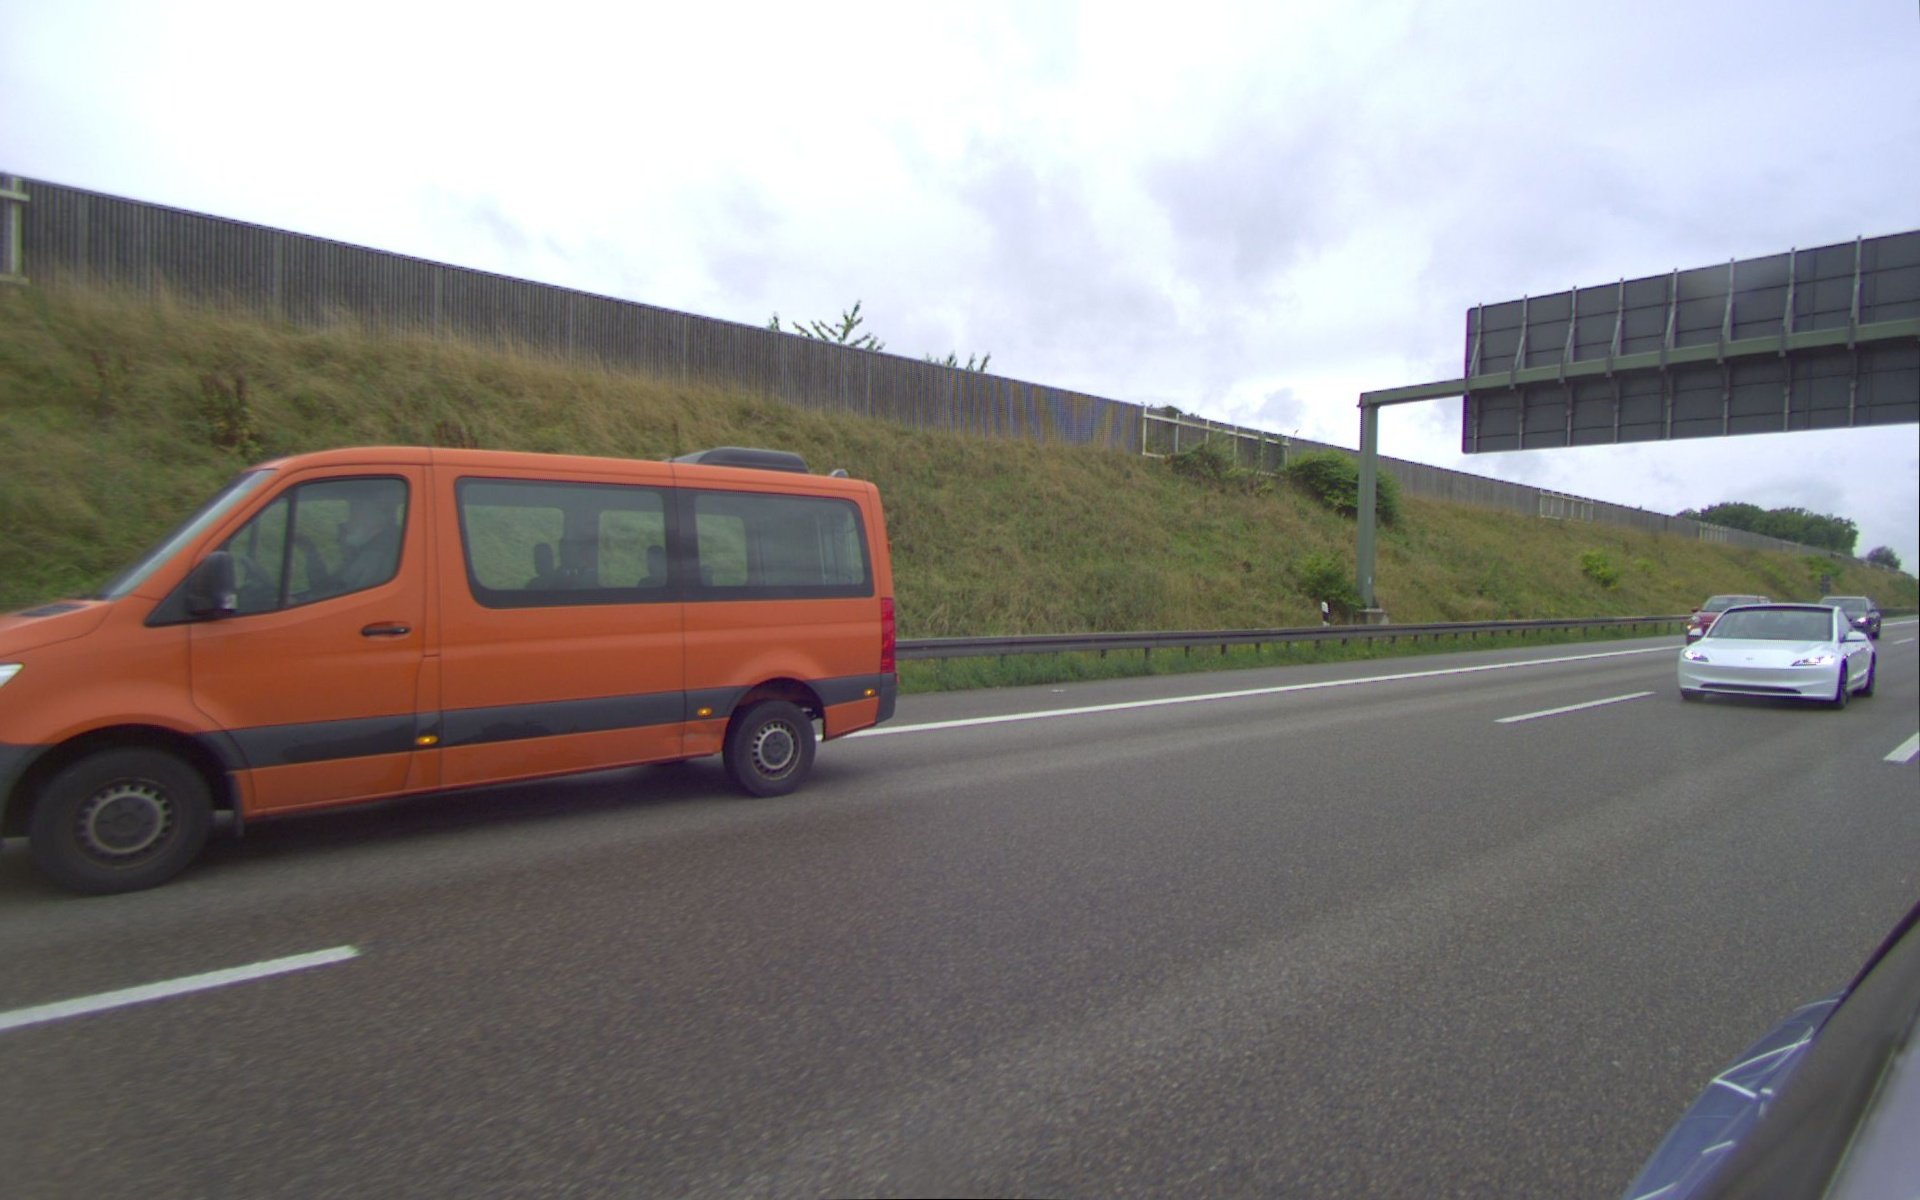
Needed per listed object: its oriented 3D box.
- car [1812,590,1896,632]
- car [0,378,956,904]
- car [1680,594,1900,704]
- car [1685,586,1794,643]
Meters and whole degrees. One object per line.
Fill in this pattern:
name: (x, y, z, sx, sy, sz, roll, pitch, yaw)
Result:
car: (34.225, 0.389, 38.706, 4.409, 1.507, 1.927, -1, 1, -42)
car: (-3.012, 0.161, 6.979, 6.073, 2.344, 2.090, 0, 1, -41)
car: (12.682, 0.627, 15.353, 4.730, 1.380, 1.876, -1, 1, -42)
car: (23.006, 0.368, 29.826, 3.932, 1.554, 1.876, -1, 1, -42)
